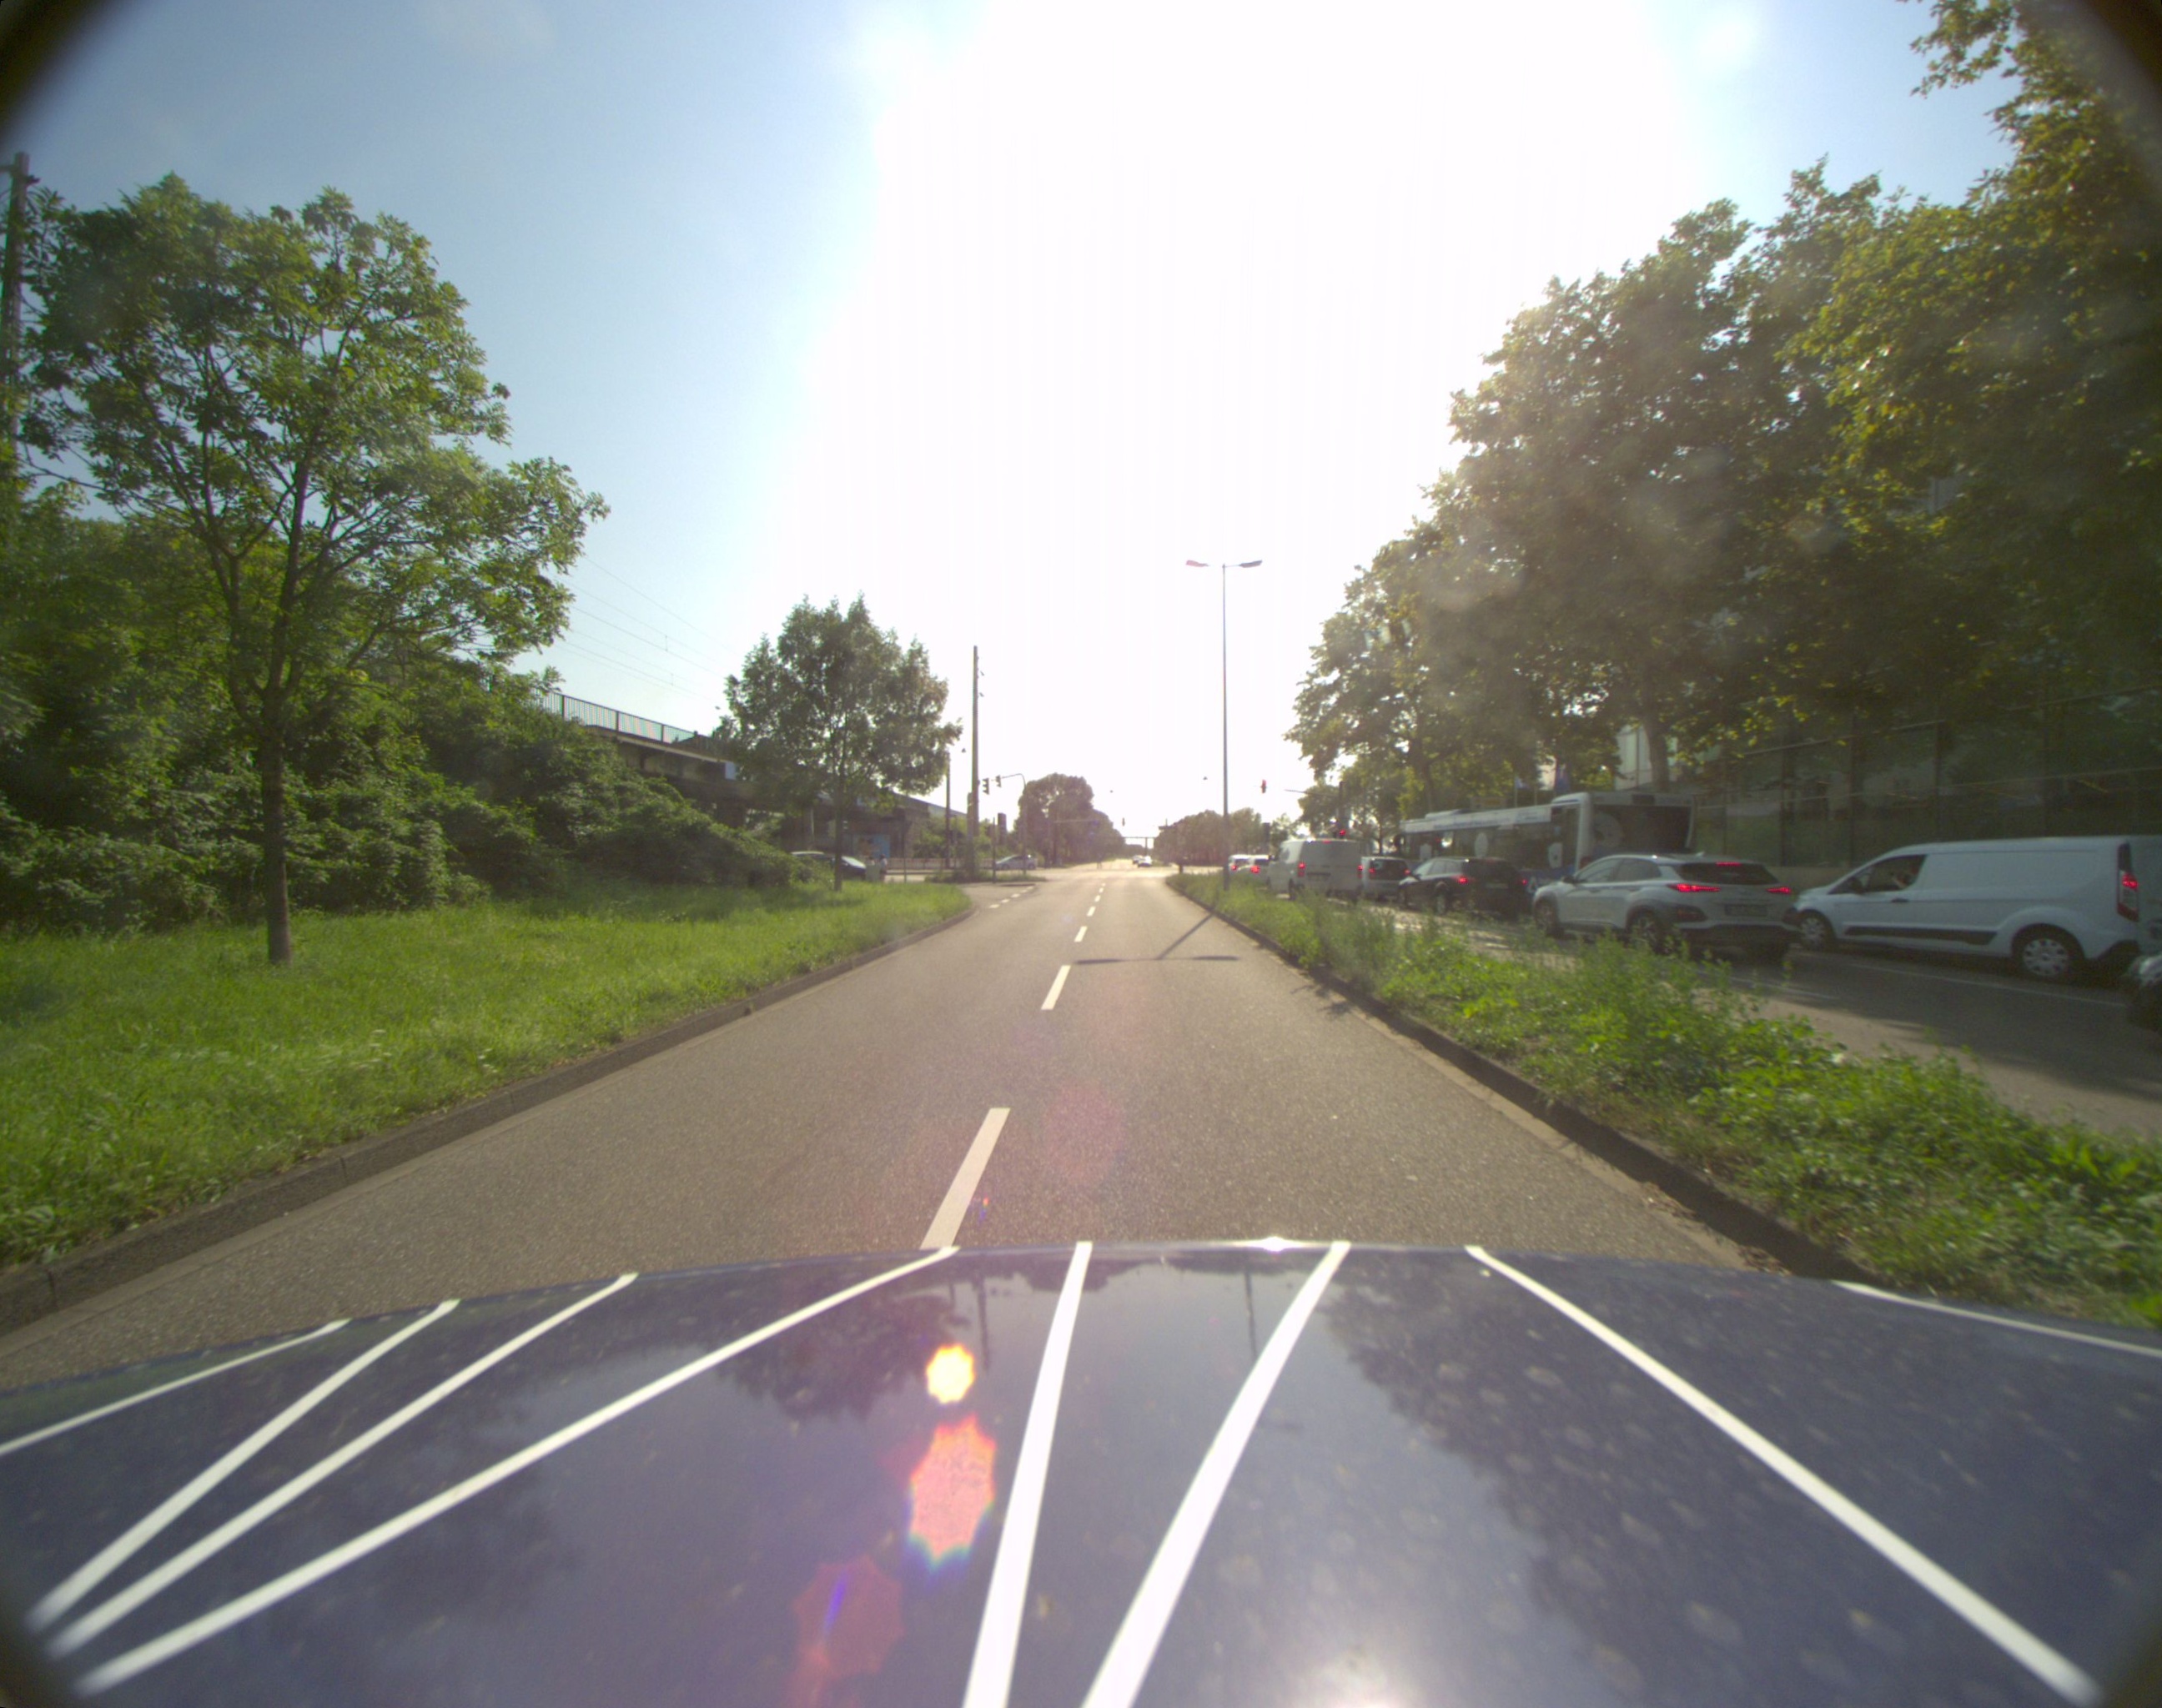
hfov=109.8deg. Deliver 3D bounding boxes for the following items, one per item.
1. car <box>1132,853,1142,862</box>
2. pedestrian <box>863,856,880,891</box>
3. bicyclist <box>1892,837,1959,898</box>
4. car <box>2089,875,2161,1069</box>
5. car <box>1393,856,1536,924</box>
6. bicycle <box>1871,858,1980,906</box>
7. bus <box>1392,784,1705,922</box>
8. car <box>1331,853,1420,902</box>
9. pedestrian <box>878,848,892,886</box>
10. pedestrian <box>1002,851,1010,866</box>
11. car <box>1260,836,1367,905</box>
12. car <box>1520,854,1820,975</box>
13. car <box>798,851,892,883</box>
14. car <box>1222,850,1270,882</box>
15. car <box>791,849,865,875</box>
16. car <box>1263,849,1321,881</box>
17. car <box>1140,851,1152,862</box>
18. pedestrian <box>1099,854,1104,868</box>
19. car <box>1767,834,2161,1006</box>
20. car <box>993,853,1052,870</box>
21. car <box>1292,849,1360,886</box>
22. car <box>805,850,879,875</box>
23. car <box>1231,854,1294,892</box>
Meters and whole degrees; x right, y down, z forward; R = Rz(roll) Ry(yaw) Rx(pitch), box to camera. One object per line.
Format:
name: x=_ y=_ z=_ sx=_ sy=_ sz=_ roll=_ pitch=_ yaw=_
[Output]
car: x=10.155 y=0.641 z=137.377 sx=1.864 sy=1.584 sz=4.001 roll=0 pitch=0 yaw=5
pedestrian: x=-9.587 y=0.871 z=34.768 sx=0.573 sy=1.558 sz=0.535 roll=-2 pitch=2 yaw=-38
bicyclist: x=20.561 y=0.319 z=18.515 sx=0.649 sy=1.431 sz=0.840 roll=1 pitch=1 yaw=2
car: x=8.563 y=0.904 z=3.936 sx=1.618 sy=1.391 sz=3.858 roll=2 pitch=1 yaw=4
car: x=9.502 y=0.819 z=19.236 sx=1.651 sy=1.425 sz=4.190 roll=2 pitch=1 yaw=3
bicycle: x=20.547 y=0.654 z=18.546 sx=0.649 sy=1.101 sz=1.800 roll=1 pitch=1 yaw=2
bus: x=12.982 y=-0.083 z=23.182 sx=2.596 sy=3.062 sz=12.313 roll=-1 pitch=1 yaw=3
car: x=10.068 y=0.747 z=26.261 sx=1.710 sy=1.458 sz=3.822 roll=2 pitch=1 yaw=3
pedestrian: x=-8.819 y=0.580 z=34.203 sx=0.493 sy=1.672 sz=0.570 roll=-1 pitch=1 yaw=-28
pedestrian: x=-7.732 y=0.471 z=78.289 sx=0.636 sy=1.565 sz=0.489 roll=-1 pitch=1 yaw=-34
car: x=6.933 y=0.456 z=23.233 sx=1.916 sy=1.853 sz=4.891 roll=1 pitch=0 yaw=2
car: x=9.076 y=0.812 z=12.247 sx=1.698 sy=1.520 sz=4.140 roll=2 pitch=1 yaw=3
car: x=-11.849 y=0.612 z=38.195 sx=4.185 sy=1.524 sz=1.873 roll=0 pitch=0 yaw=16
car: x=7.909 y=0.530 z=36.691 sx=1.647 sy=1.487 sz=4.001 roll=0 pitch=0 yaw=4
car: x=-16.239 y=0.501 z=48.807 sx=4.223 sy=1.608 sz=2.006 roll=-1 pitch=1 yaw=-30
car: x=10.594 y=0.513 z=38.477 sx=1.859 sy=1.495 sz=4.264 roll=0 pitch=0 yaw=2
car: x=8.739 y=0.315 z=101.643 sx=1.544 sy=1.433 sz=3.396 roll=0 pitch=0 yaw=6
pedestrian: x=2.475 y=0.822 z=90.579 sx=0.587 sy=1.715 sz=0.647 roll=0 pitch=1 yaw=-1
car: x=12.557 y=0.719 z=10.642 sx=1.707 sy=1.877 sz=4.749 roll=2 pitch=1 yaw=3
car: x=-5.581 y=0.689 z=73.143 sx=5.441 sy=1.438 sz=1.855 roll=-1 pitch=1 yaw=-35
car: x=10.372 y=0.526 z=32.404 sx=1.710 sy=1.434 sz=4.000 roll=2 pitch=1 yaw=3
car: x=-14.550 y=0.506 z=46.305 sx=4.007 sy=1.444 sz=1.613 roll=0 pitch=0 yaw=-32
car: x=7.247 y=0.738 z=30.758 sx=1.713 sy=1.394 sz=4.084 roll=2 pitch=0 yaw=3
